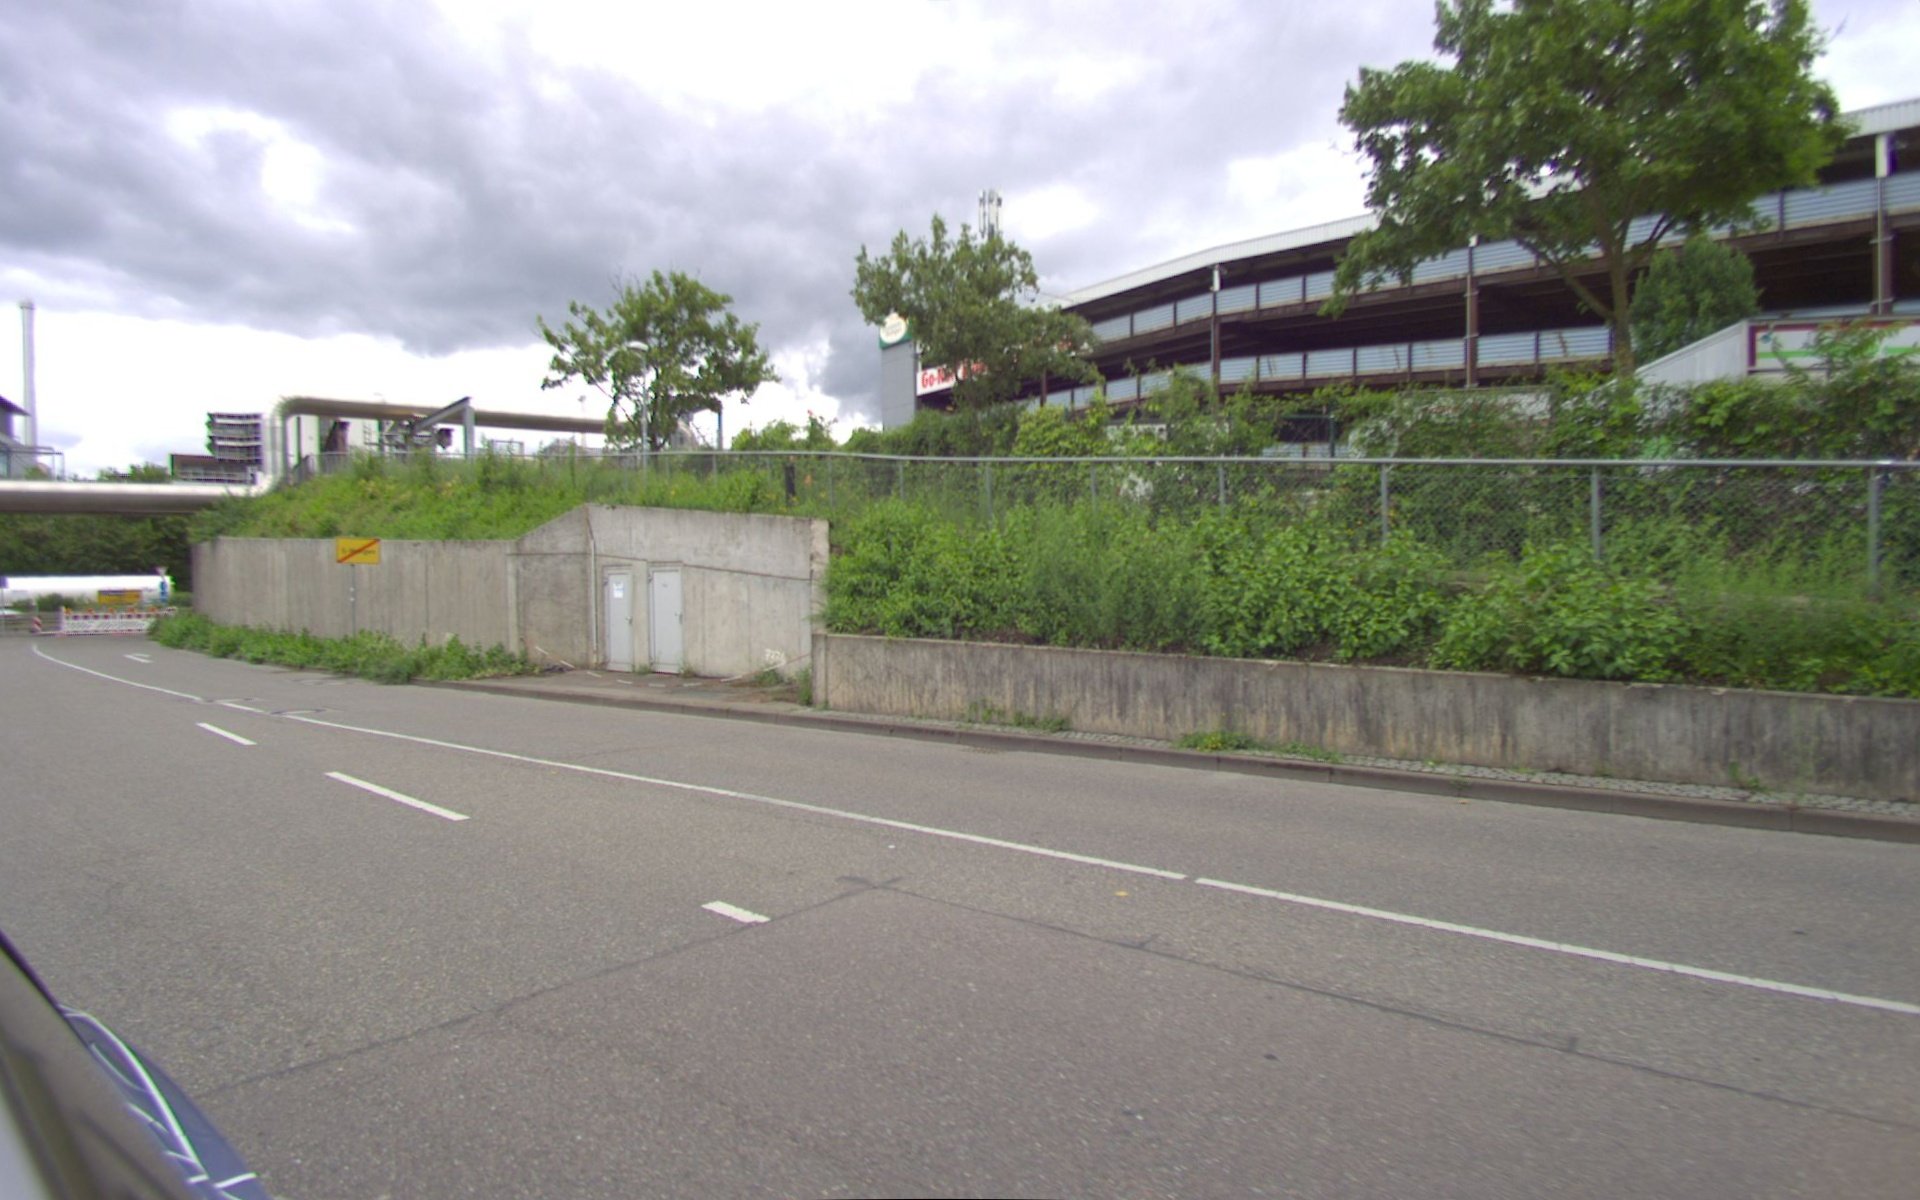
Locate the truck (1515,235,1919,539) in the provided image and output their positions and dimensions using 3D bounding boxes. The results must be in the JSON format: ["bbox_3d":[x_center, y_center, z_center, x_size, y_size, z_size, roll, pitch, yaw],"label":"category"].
[{"bbox_3d":[12.357,-2.921,16.684,3.018,3.564,7.845,1,2,9],"label":"truck"}]

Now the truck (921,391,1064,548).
[{"bbox_3d":[1.149,-3.327,28.251,3.018,3.564,7.845,1,2,9],"label":"truck"}]

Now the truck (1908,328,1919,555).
[{"bbox_3d":[15.928,-2.349,11.728,3.018,3.564,8.133,1,2,9],"label":"truck"}]

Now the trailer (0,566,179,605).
[{"bbox_3d":[-65.237,-1.098,75.646,10.804,2.715,2.225,-1,0,-40],"label":"trailer"}]

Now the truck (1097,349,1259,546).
[{"bbox_3d":[4.823,-3.168,23.565,3.018,3.564,7.845,1,2,9],"label":"truck"}]

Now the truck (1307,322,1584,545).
[{"bbox_3d":[9.655,-3.071,21.309,3.018,3.564,7.845,1,2,9],"label":"truck"}]
